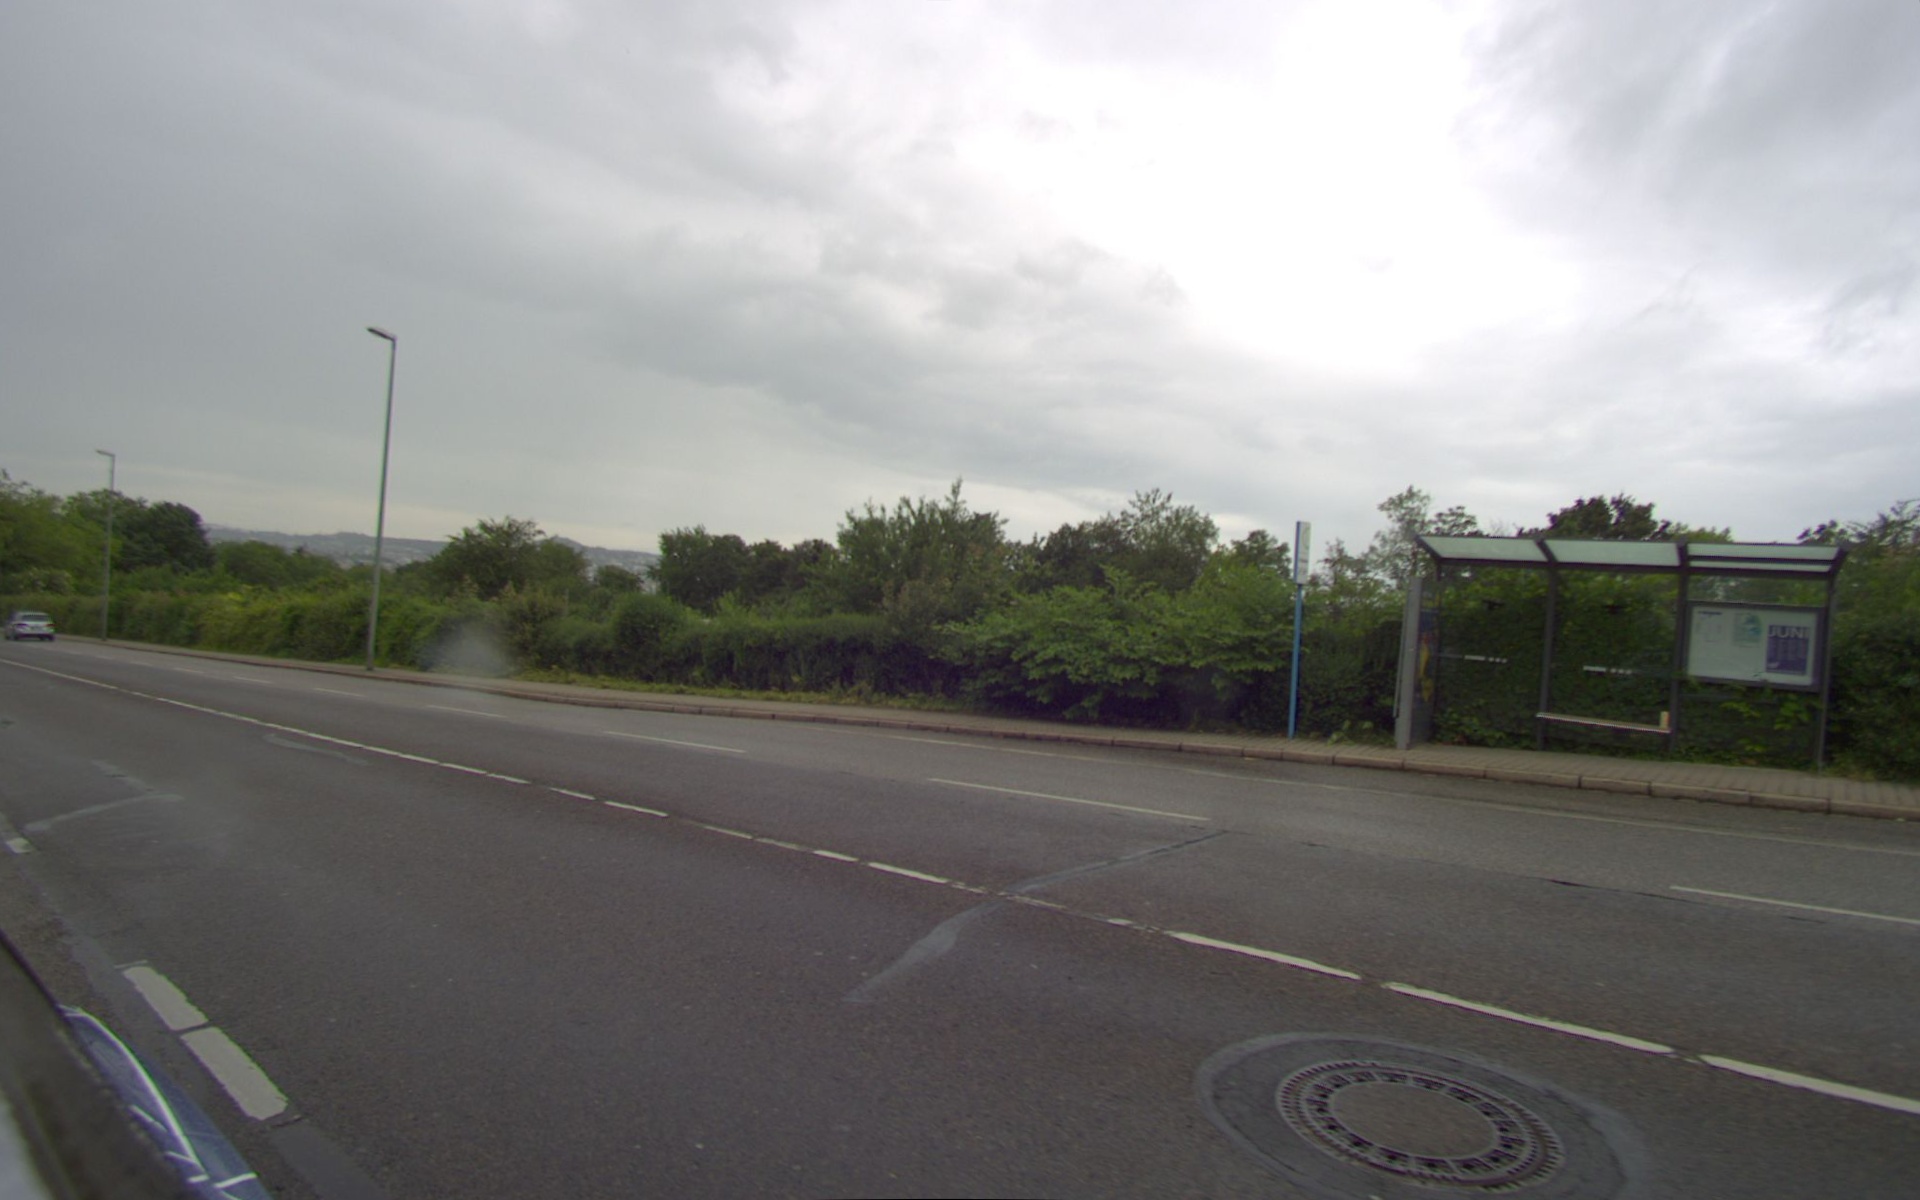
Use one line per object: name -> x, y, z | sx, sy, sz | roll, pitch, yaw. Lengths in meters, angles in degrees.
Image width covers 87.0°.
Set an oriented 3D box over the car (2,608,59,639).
car -> -51.703, 1.319, 56.268 | 3.996, 1.580, 1.738 | 0, -3, 39
